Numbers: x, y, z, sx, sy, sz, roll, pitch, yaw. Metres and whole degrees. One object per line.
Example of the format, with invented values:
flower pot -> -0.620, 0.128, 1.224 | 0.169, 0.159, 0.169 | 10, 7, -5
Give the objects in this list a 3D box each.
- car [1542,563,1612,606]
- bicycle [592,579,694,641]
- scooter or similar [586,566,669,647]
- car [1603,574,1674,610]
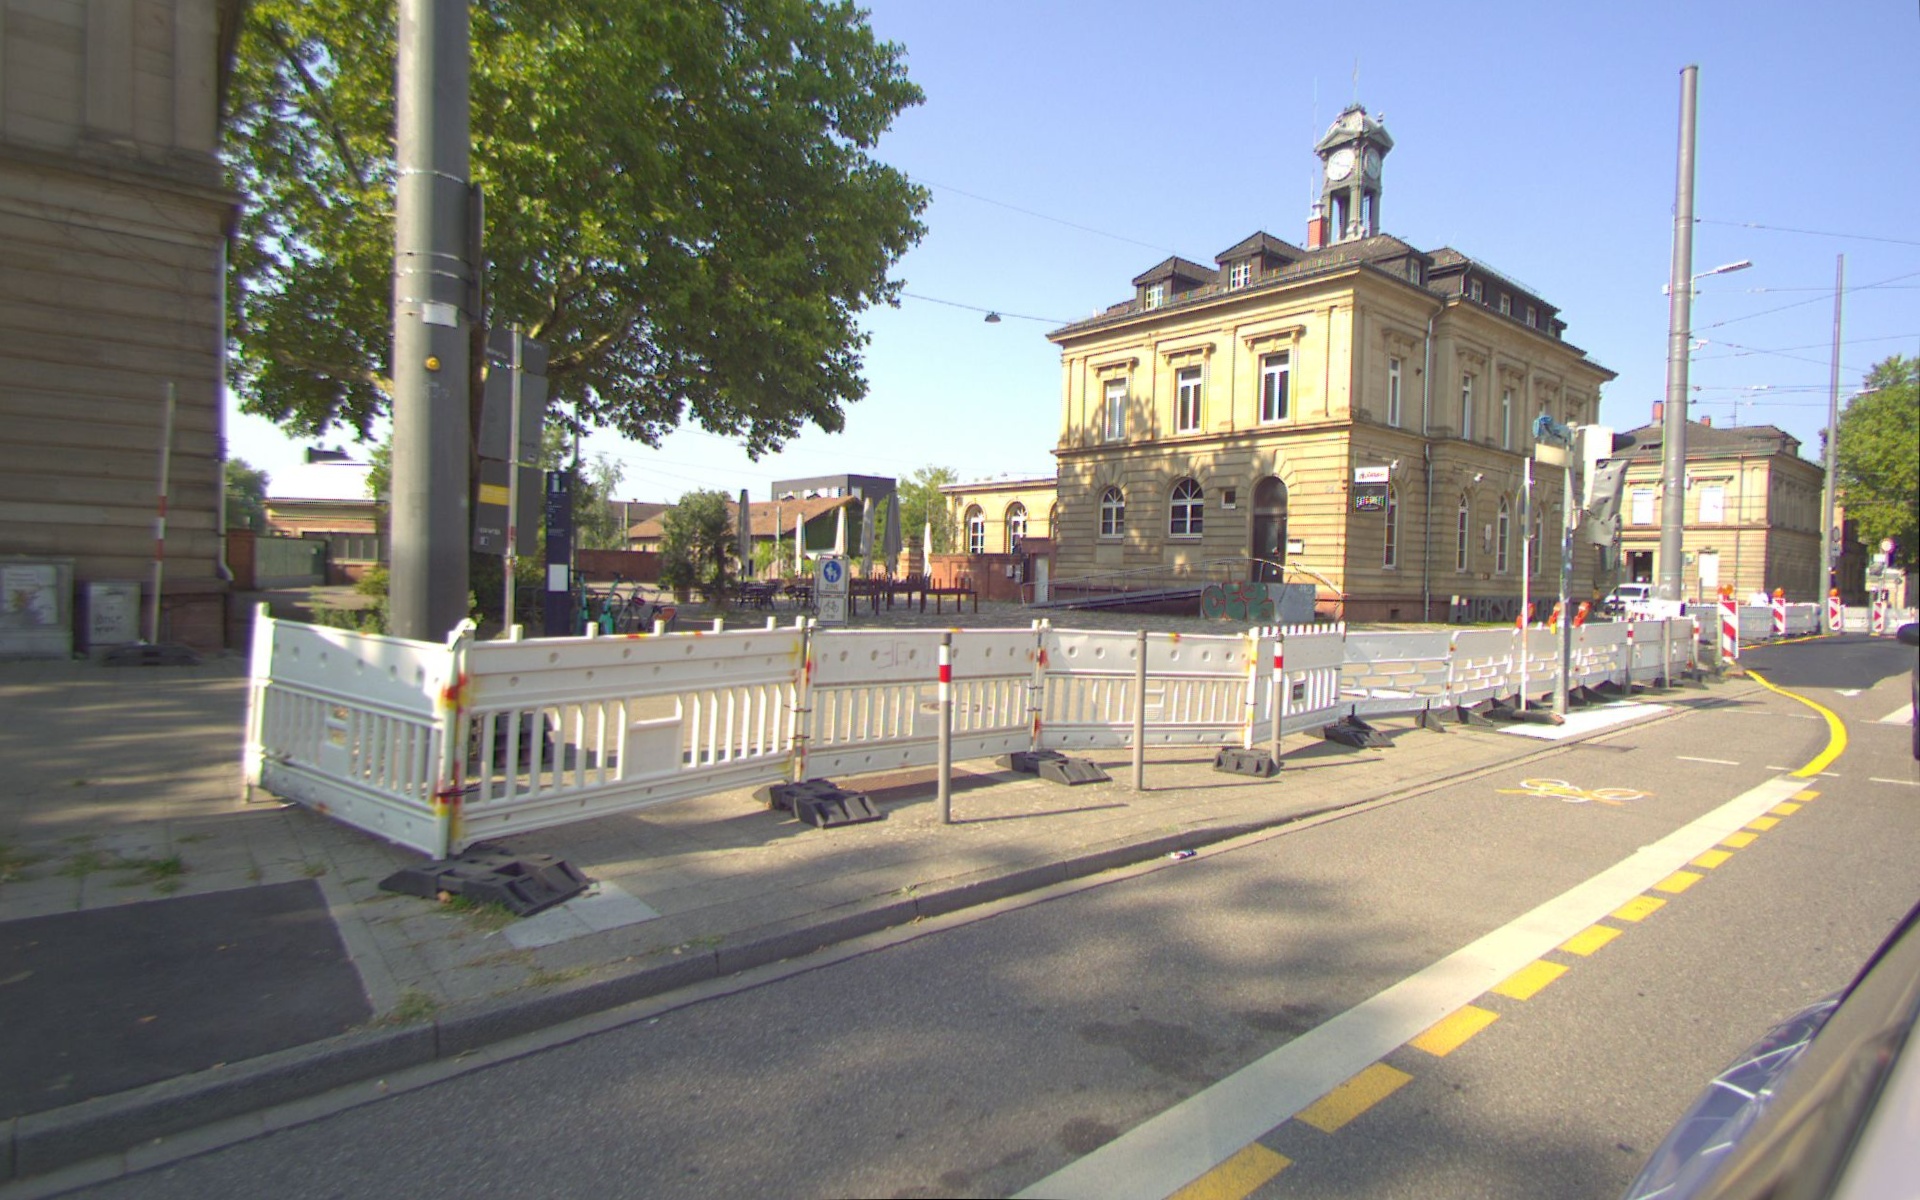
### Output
car -> 37.191, -0.945, 60.894 | 5.398, 2.452, 2.260 | 0, 2, -44
bicycle -> -5.509, 0.189, 17.677 | 0.489, 1.012, 1.797 | 2, 0, 31
scooter or similar -> -5.281, 0.106, 16.088 | 1.150, 1.243, 0.427 | 1, 2, -33
car -> 38.264, -0.439, 57.064 | 4.144, 1.805, 1.911 | 2, 2, -36
